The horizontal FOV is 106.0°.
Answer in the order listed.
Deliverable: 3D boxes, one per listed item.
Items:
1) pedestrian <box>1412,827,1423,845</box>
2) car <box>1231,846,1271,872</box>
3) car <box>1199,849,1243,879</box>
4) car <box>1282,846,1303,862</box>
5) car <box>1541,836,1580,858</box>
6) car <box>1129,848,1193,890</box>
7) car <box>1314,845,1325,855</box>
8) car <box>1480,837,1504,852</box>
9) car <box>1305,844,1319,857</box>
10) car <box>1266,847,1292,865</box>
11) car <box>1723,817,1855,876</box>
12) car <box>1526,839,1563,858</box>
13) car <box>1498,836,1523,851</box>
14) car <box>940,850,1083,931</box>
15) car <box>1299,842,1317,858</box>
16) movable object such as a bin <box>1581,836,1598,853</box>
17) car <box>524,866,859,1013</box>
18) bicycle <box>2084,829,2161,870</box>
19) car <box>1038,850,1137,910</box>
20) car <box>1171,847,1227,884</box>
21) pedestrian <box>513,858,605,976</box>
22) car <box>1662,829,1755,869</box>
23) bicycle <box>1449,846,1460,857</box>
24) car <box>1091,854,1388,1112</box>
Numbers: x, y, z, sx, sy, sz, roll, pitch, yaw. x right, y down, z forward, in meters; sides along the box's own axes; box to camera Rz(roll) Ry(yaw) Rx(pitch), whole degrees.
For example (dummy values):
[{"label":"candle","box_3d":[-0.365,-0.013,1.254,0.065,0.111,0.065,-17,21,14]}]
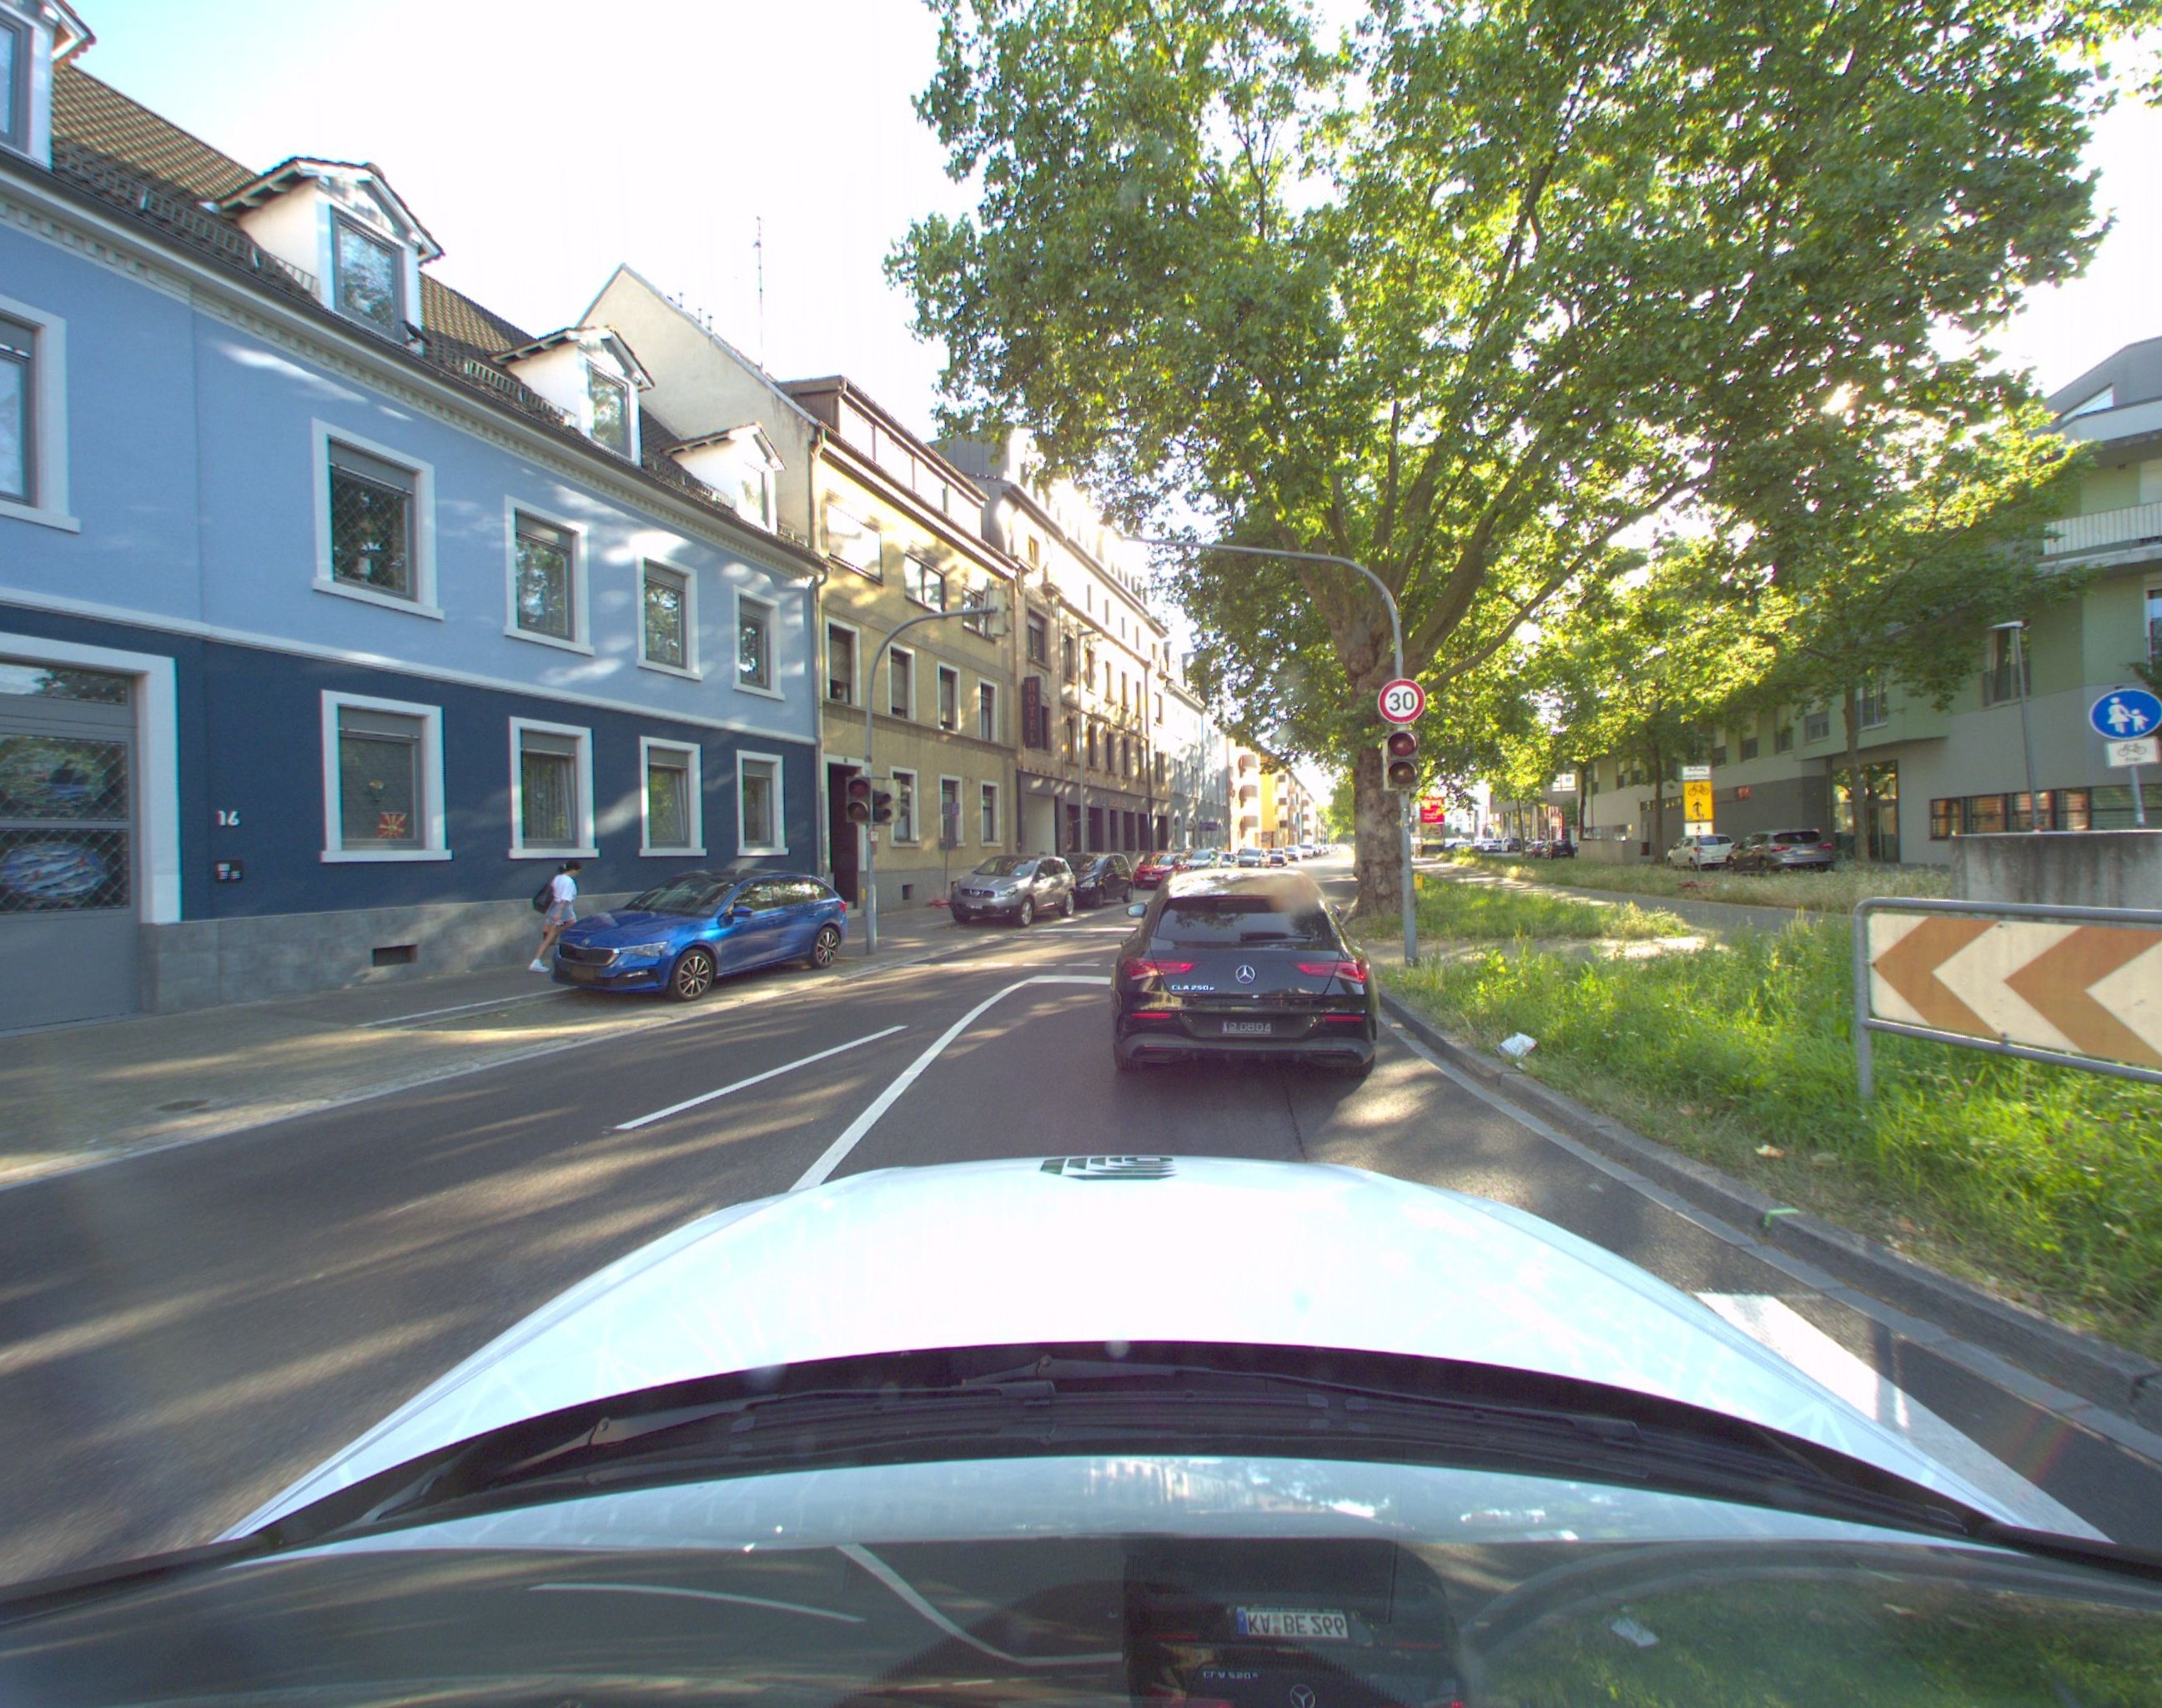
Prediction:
[{"label":"pedestrian","box_3d":[33.923,-1.776,82.084,0.763,1.761,0.665,-3,-1,9]},{"label":"car","box_3d":[11.294,0.288,53.848,1.892,1.641,4.601,0,1,21]},{"label":"car","box_3d":[7.617,0.511,44.068,1.663,1.496,3.892,0,1,21]},{"label":"car","box_3d":[21.139,-0.060,81.337,1.663,1.523,4.042,0,1,21]},{"label":"car","box_3d":[35.943,-0.550,61.162,1.843,1.552,3.778,-2,0,20]},{"label":"car","box_3d":[3.344,0.562,33.417,1.663,1.592,3.776,0,1,21]},{"label":"car","box_3d":[36.827,-0.605,125.818,1.535,1.523,4.024,0,1,18]},{"label":"car","box_3d":[50.367,-1.170,99.913,1.861,1.733,4.199,-2,0,17]},{"label":"car","box_3d":[32.182,-0.492,113.238,1.731,1.787,4.571,0,1,18]},{"label":"car","box_3d":[16.747,0.153,68.883,1.663,1.486,3.620,0,1,21]},{"label":"car","box_3d":[23.696,-0.250,27.480,1.889,1.771,4.342,-2,0,20]},{"label":"car","box_3d":[38.555,-0.479,67.854,1.844,1.468,4.143,-2,0,18]},{"label":"car","box_3d":[52.234,-1.245,99.105,1.970,1.733,4.200,-2,0,18]},{"label":"car","box_3d":[-1.537,0.776,19.676,1.766,1.672,4.178,0,1,21]},{"label":"car","box_3d":[28.036,-0.551,100.465,1.719,1.906,5.236,0,1,21]},{"label":"movable object such as a bin","box_3d":[44.542,-0.836,71.382,1.181,1.463,1.416,-2,0,31]},{"label":"car","box_3d":[-5.022,0.974,11.266,1.636,1.486,4.283,0,1,19]},{"label":"bicycle","box_3d":[27.503,-0.114,21.187,1.659,1.018,0.592,-2,0,39]},{"label":"car","box_3d":[0.283,0.699,24.393,1.663,1.605,3.726,0,1,23]},{"label":"car","box_3d":[5.564,0.503,38.009,1.663,1.584,4.222,0,1,21]},{"label":"pedestrian","box_3d":[-7.364,0.857,11.498,0.697,1.570,0.871,-2,0,36]},{"label":"car","box_3d":[26.463,-0.220,34.506,1.843,1.542,4.342,-2,0,20]},{"label":"bicycle","box_3d":[36.203,-0.264,78.936,0.381,1.003,1.488,-2,0,3]},{"label":"car","box_3d":[1.239,0.750,6.821,1.734,1.443,3.979,0,1,9]}]
